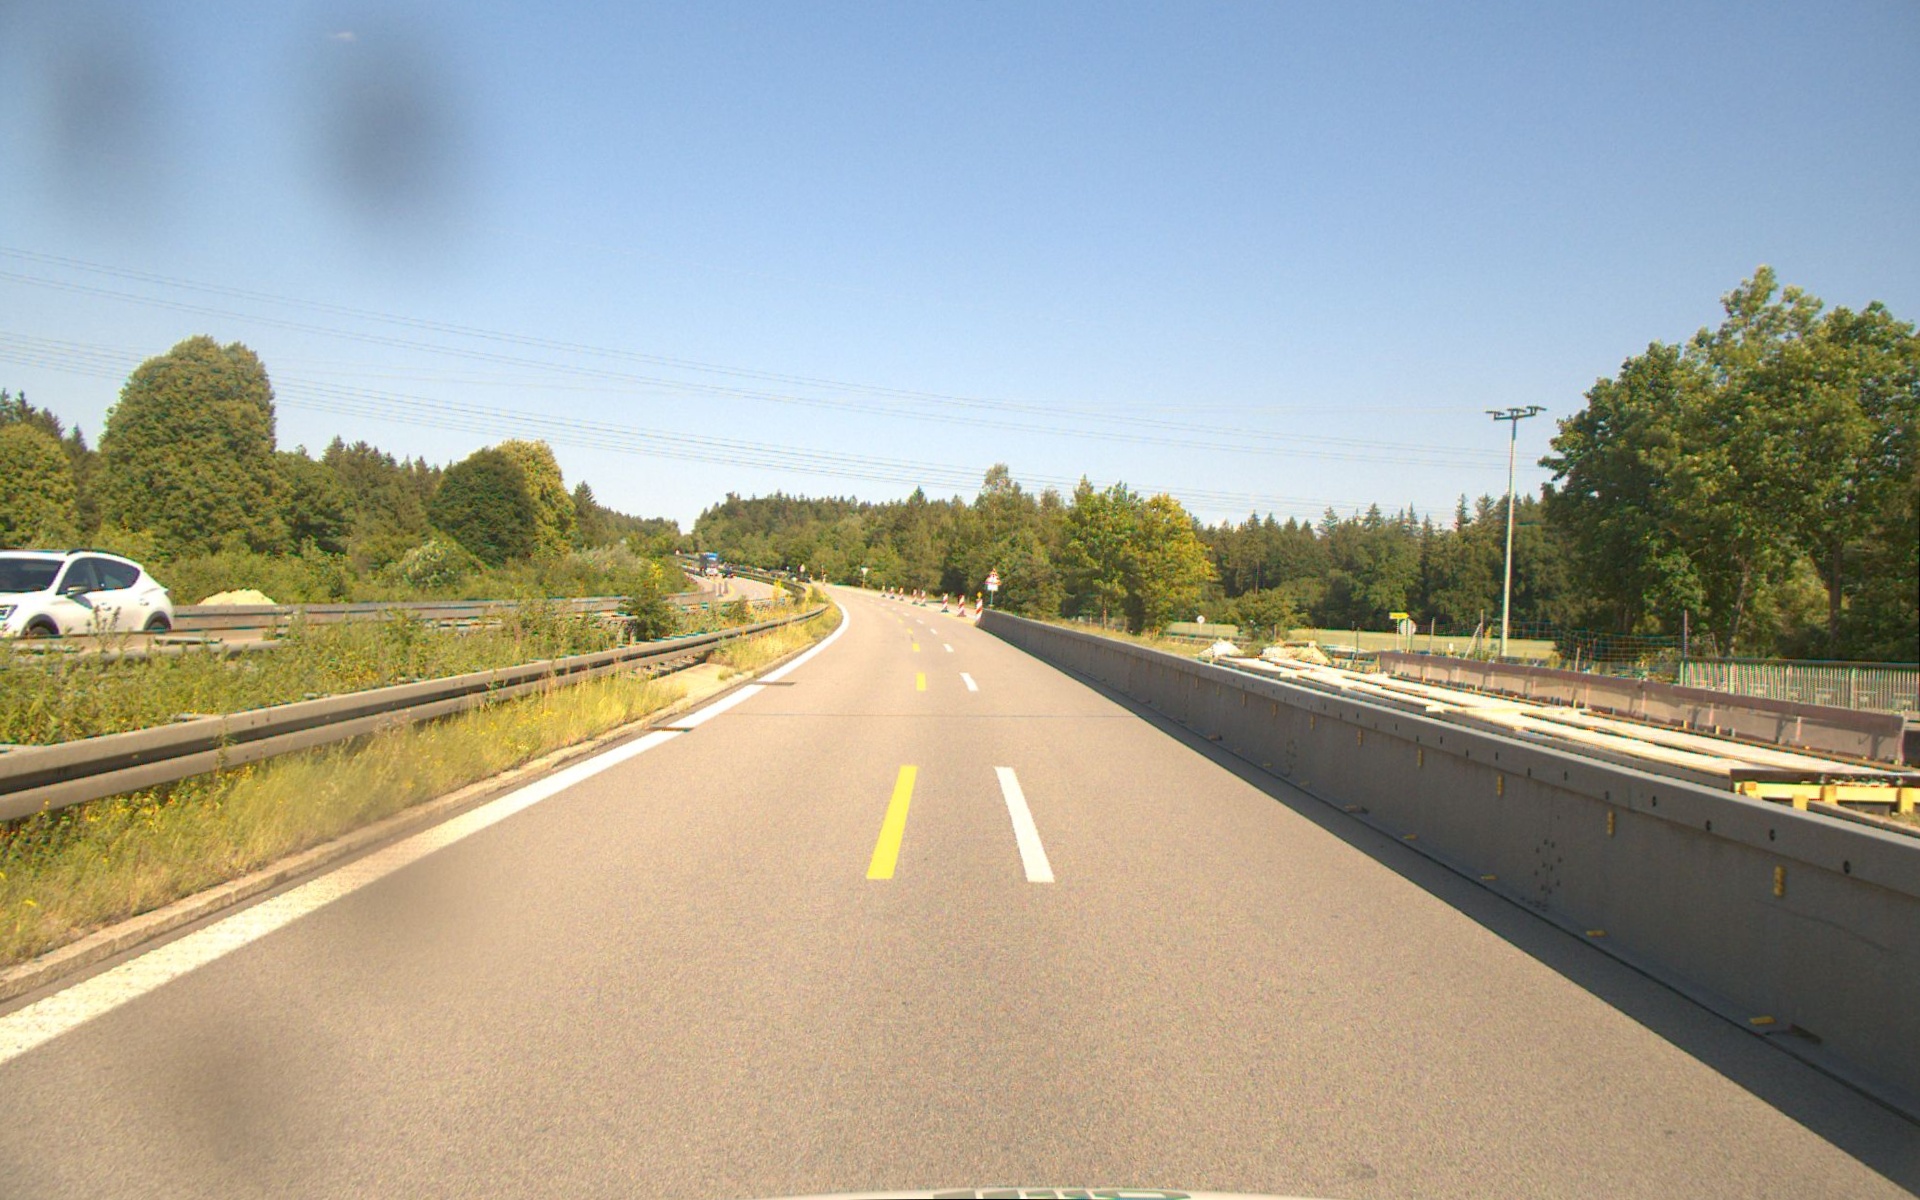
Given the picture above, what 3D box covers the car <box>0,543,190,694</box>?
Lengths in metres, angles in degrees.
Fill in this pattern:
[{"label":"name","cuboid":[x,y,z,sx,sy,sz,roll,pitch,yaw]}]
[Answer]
[{"label":"car","cuboid":[-10.693,0.193,18.895,1.724,1.538,4.533,1,0,-1]}]
